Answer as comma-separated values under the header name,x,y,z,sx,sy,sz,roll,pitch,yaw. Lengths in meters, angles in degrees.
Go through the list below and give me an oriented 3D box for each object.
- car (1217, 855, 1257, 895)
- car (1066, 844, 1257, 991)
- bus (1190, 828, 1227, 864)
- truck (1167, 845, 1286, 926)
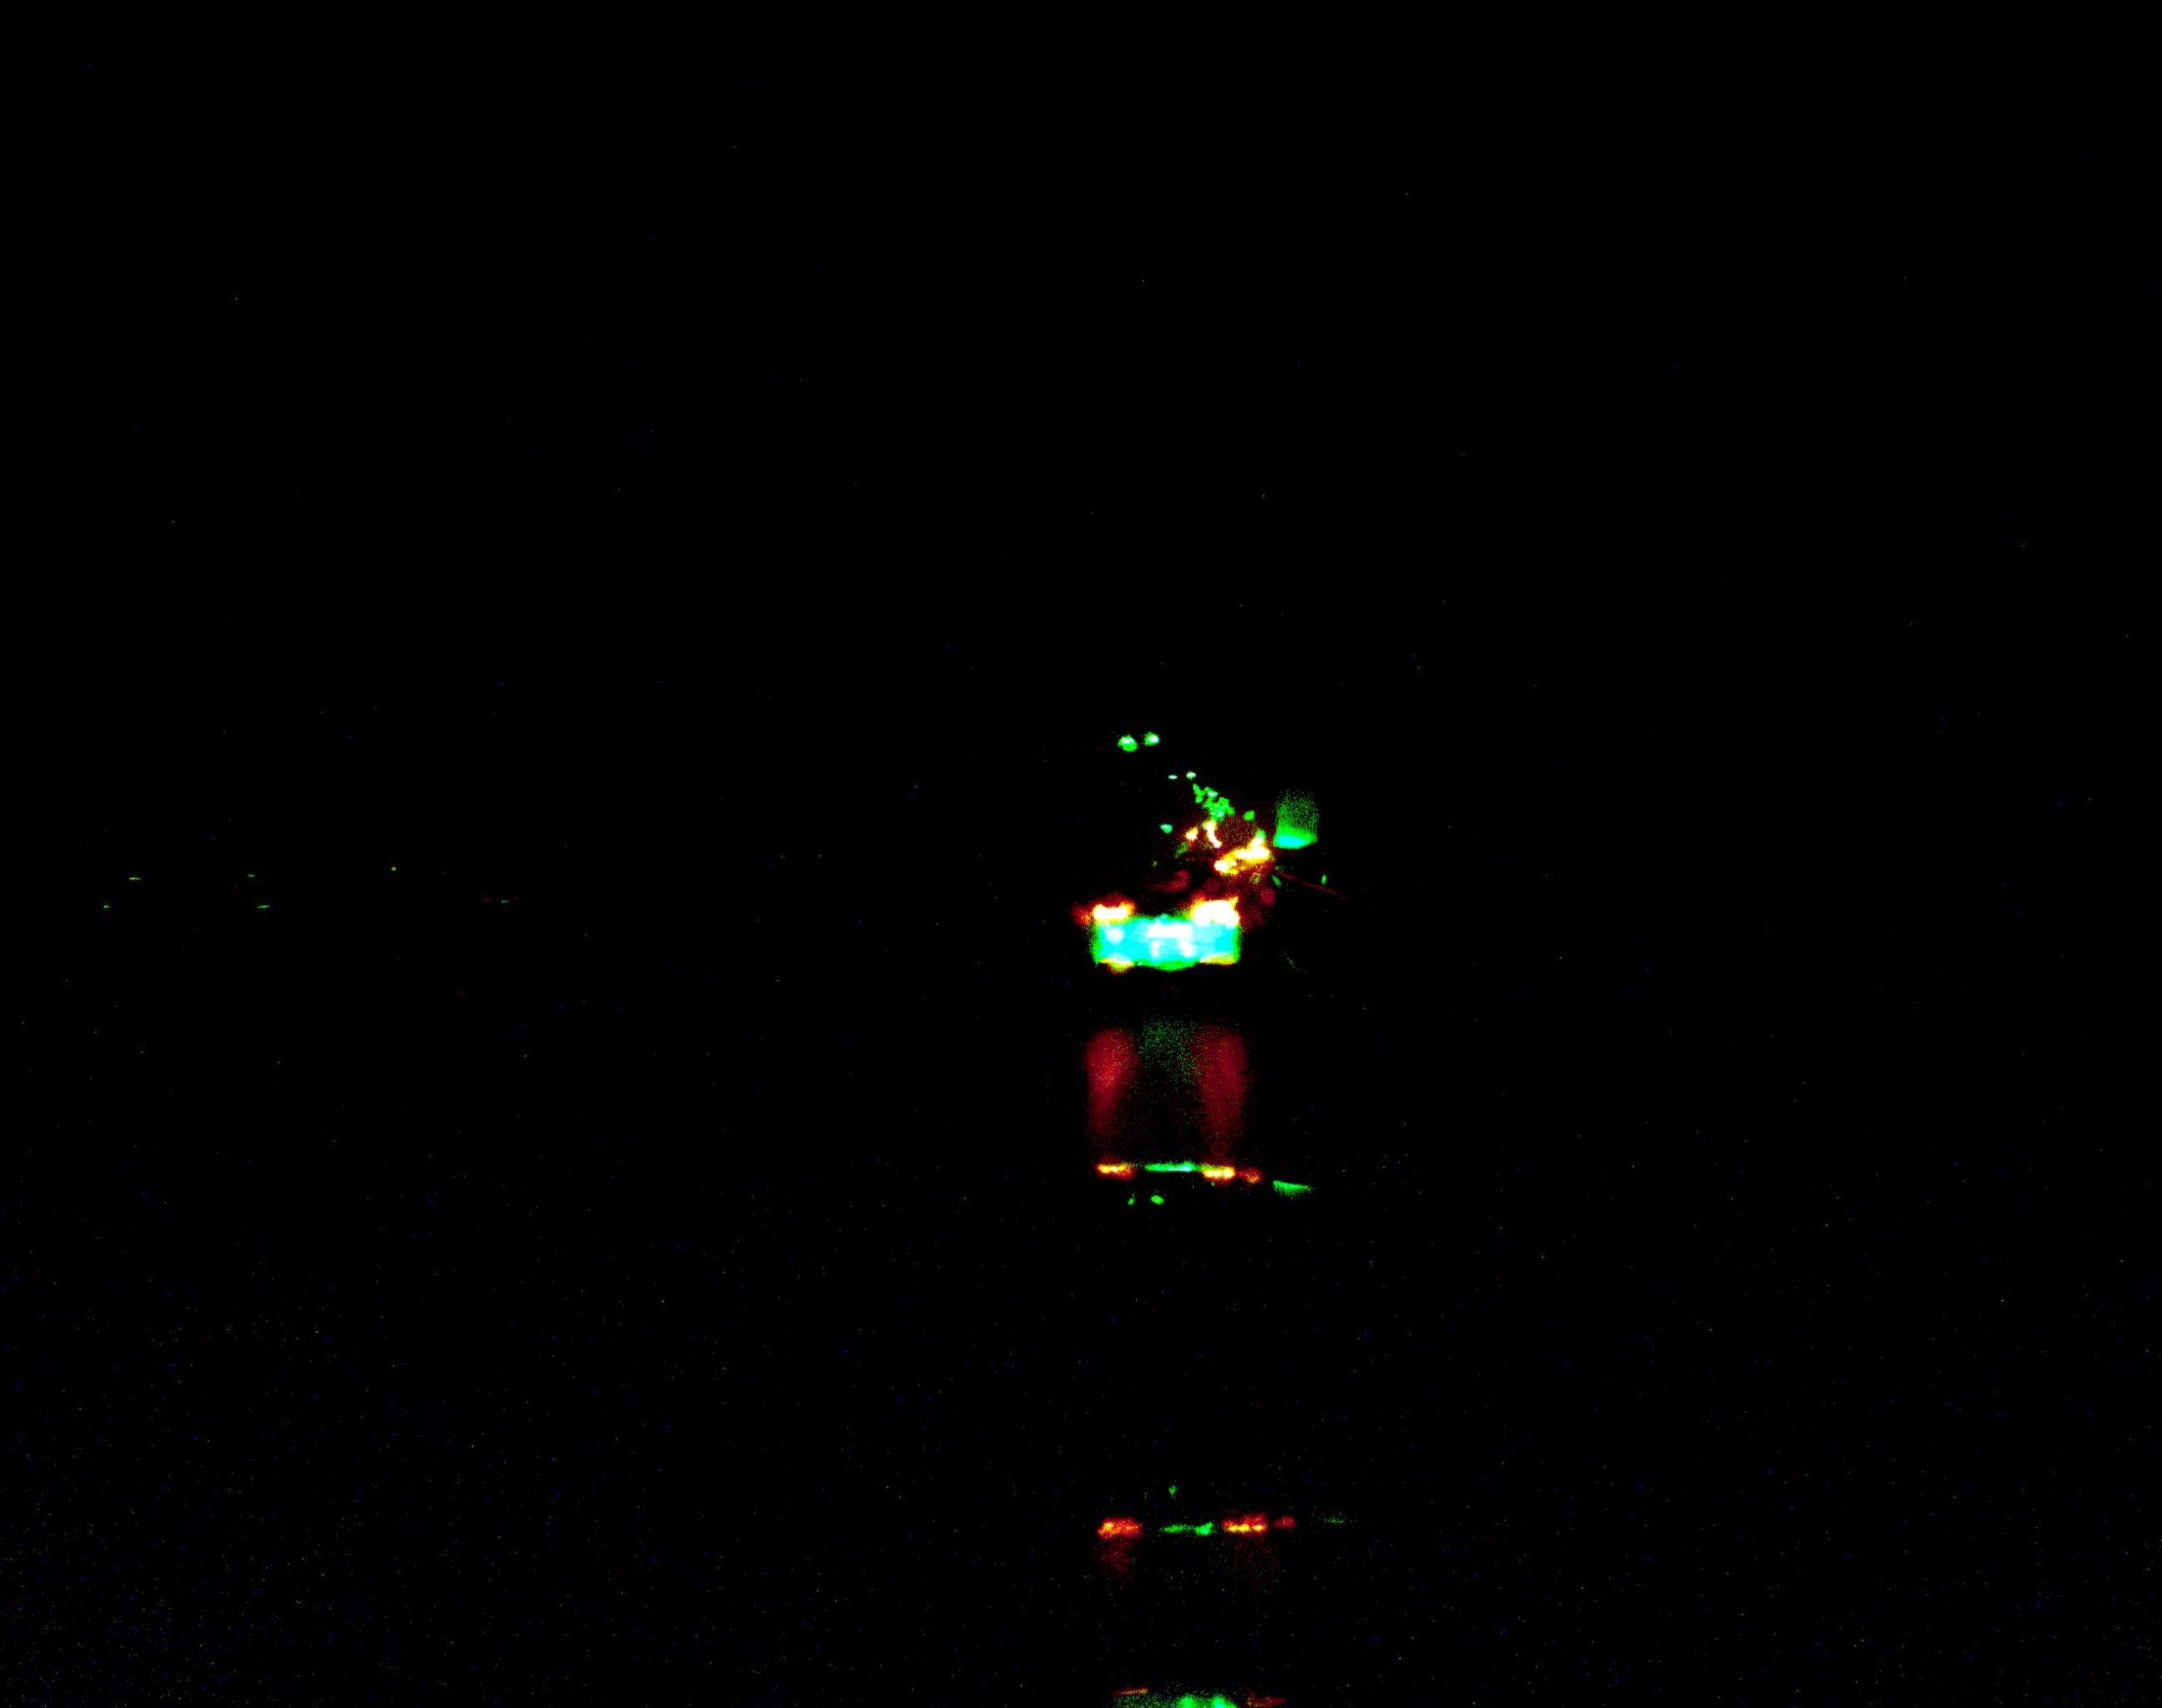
name,x,y,z,sx,sy,sz,roll,pitch,yaw
car,8.081,1.056,41.982,1.823,1.948,4.014,-1,-1,13
car,1.149,0.678,10.310,1.932,1.491,3.726,-2,-1,10
bus,11.963,-0.761,75.765,2.725,3.123,9.234,-1,0,13
truck,5.432,1.039,29.239,3.044,2.528,7.201,-1,-1,19
